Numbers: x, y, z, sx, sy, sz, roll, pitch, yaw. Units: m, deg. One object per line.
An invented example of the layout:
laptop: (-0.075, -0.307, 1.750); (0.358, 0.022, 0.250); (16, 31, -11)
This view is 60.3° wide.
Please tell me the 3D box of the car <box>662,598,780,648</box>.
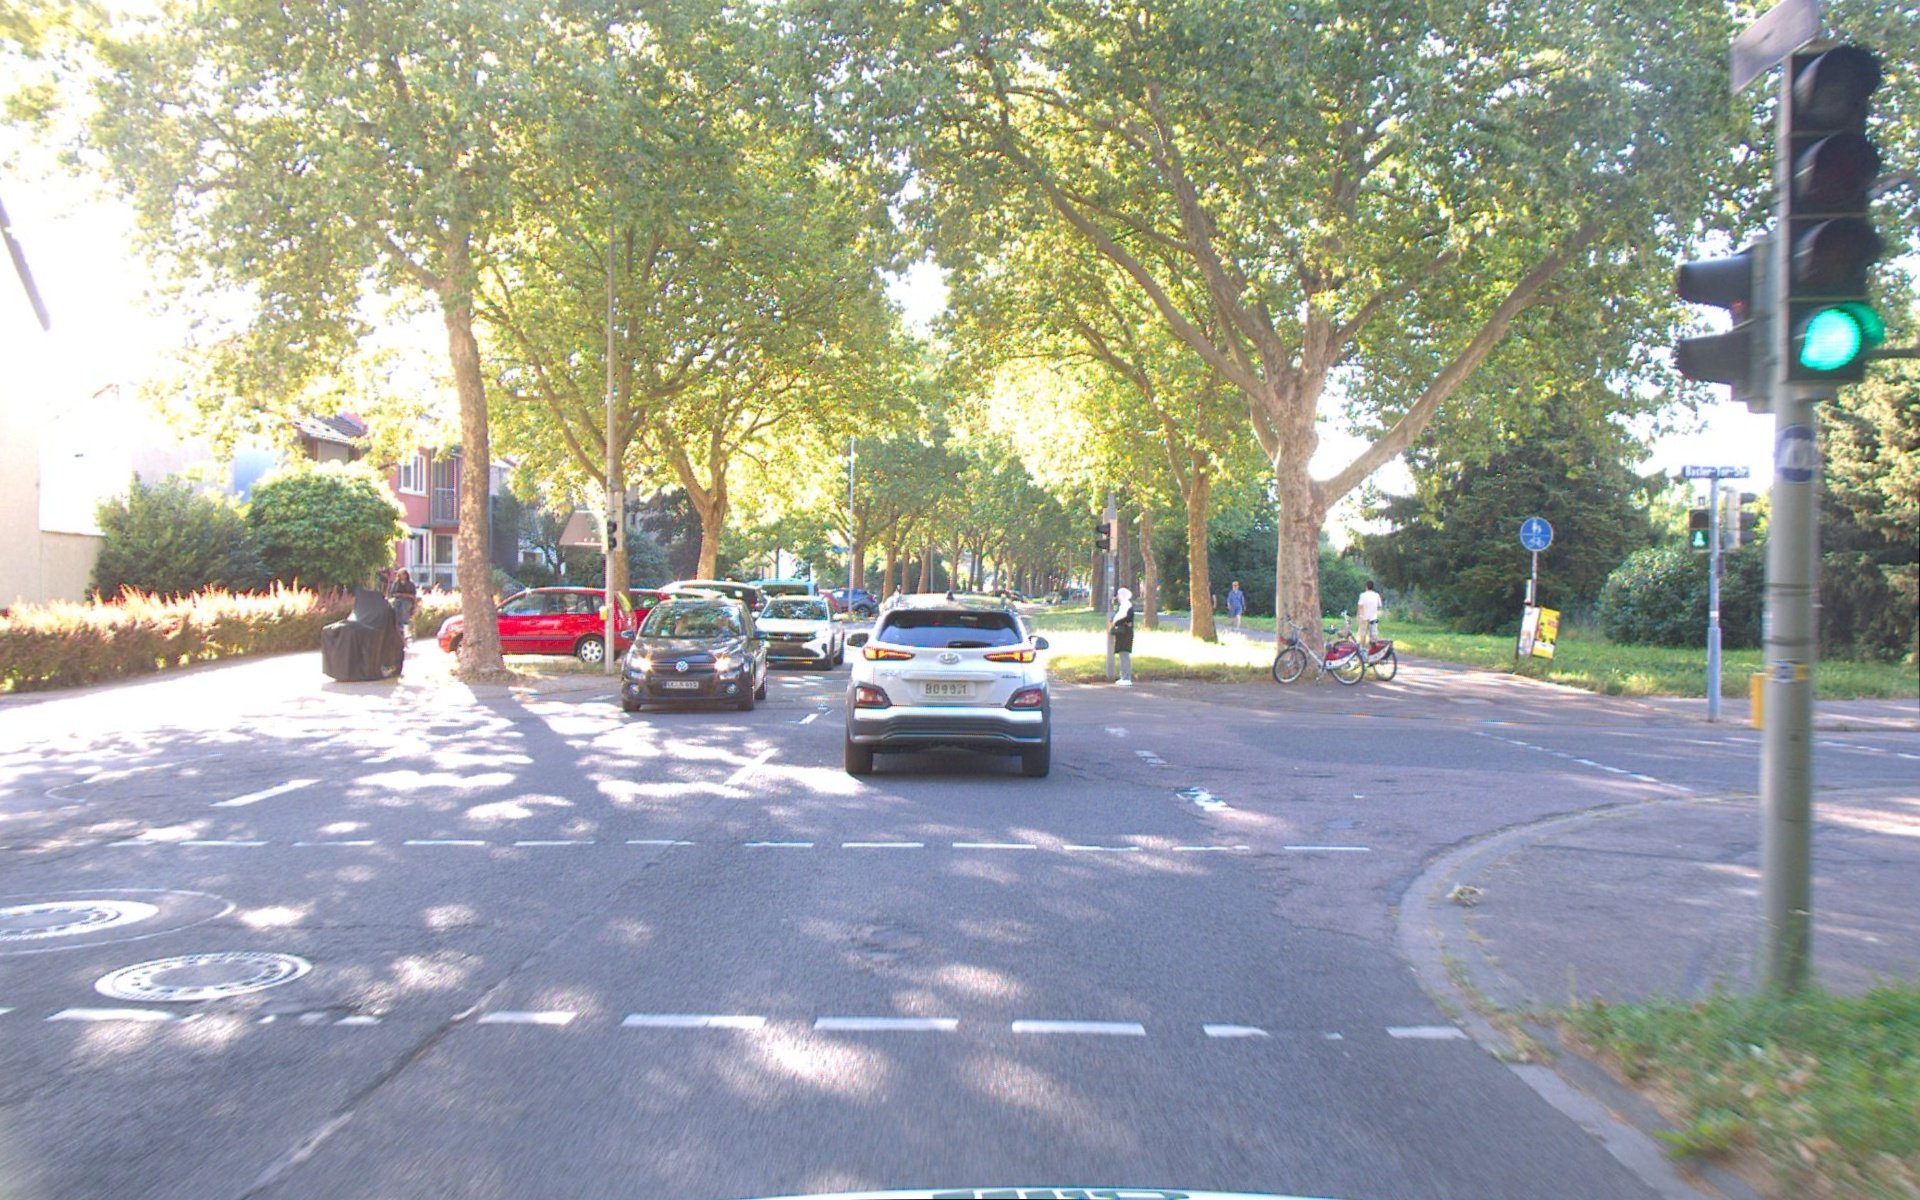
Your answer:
car: (-7.839, 0.750, 54.444); (3.567, 1.543, 1.782); (1, 0, 1)

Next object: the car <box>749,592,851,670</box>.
car: (-3.338, 0.608, 35.151); (1.681, 1.527, 4.094); (1, 0, 1)

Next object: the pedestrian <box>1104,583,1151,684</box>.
pedestrian: (2.955, 0.577, 29.242); (0.622, 1.749, 0.824); (-2, 0, -7)

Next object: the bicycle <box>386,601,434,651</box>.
bicycle: (-12.127, 0.564, 36.518); (0.499, 1.060, 2.150); (0, 0, -5)

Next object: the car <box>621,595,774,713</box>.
car: (-3.546, 0.687, 22.984); (1.692, 1.489, 4.066); (0, 0, -3)

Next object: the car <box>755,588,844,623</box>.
car: (-7.116, 0.238, 73.371); (3.792, 1.545, 1.665); (0, 0, -1)

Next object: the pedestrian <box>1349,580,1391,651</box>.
pedestrian: (9.727, 0.363, 39.287); (0.763, 1.678, 0.939); (0, 0, 0)

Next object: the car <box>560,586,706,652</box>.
car: (-8.082, 0.458, 41.129); (3.272, 1.505, 1.695); (2, 0, -1)

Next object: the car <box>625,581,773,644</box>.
car: (-7.609, 0.359, 48.448); (4.007, 1.746, 1.831); (1, 0, 0)

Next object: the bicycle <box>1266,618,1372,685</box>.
bicycle: (6.009, 0.853, 27.713); (1.685, 1.053, 0.445); (1, 3, 36)

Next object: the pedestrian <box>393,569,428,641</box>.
pedestrian: (-12.137, 0.120, 36.542); (0.499, 1.558, 1.032); (0, -2, -6)

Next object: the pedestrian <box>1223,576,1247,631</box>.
pedestrian: (9.564, 0.119, 57.450); (0.739, 1.880, 0.803); (0, 0, 4)

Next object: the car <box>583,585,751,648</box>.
car: (-7.662, 0.415, 43.522); (4.077, 1.527, 1.875); (1, 0, -2)

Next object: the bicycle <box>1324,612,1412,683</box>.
bicycle: (7.047, 0.796, 28.640); (0.438, 1.101, 1.996); (-2, 2, -19)

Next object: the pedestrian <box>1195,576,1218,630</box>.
pedestrian: (8.572, 0.102, 57.574); (0.745, 1.878, 0.788); (0, 0, 4)

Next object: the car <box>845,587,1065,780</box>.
car: (-0.099, 0.697, 15.644); (1.798, 1.583, 3.998); (0, 0, -2)

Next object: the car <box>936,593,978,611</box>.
car: (-0.275, 0.202, 162.933); (4.096, 1.612, 2.001); (1, 0, 2)

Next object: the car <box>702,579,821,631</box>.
car: (-7.588, 0.184, 63.407); (4.296, 1.856, 1.995); (1, 0, -1)

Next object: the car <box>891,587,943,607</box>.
car: (-3.273, -0.207, 125.431); (3.745, 1.339, 1.791); (2, 1, 4)

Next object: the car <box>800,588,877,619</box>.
car: (-6.391, 0.196, 87.213); (3.907, 1.545, 1.817); (1, 0, -1)

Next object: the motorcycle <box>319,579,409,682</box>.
motorcycle: (-10.366, 0.489, 28.859); (0.961, 1.666, 2.386); (0, 2, -7)

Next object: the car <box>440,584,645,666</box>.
car: (-8.419, 0.490, 33.616); (3.688, 1.561, 1.831); (1, 0, -2)
